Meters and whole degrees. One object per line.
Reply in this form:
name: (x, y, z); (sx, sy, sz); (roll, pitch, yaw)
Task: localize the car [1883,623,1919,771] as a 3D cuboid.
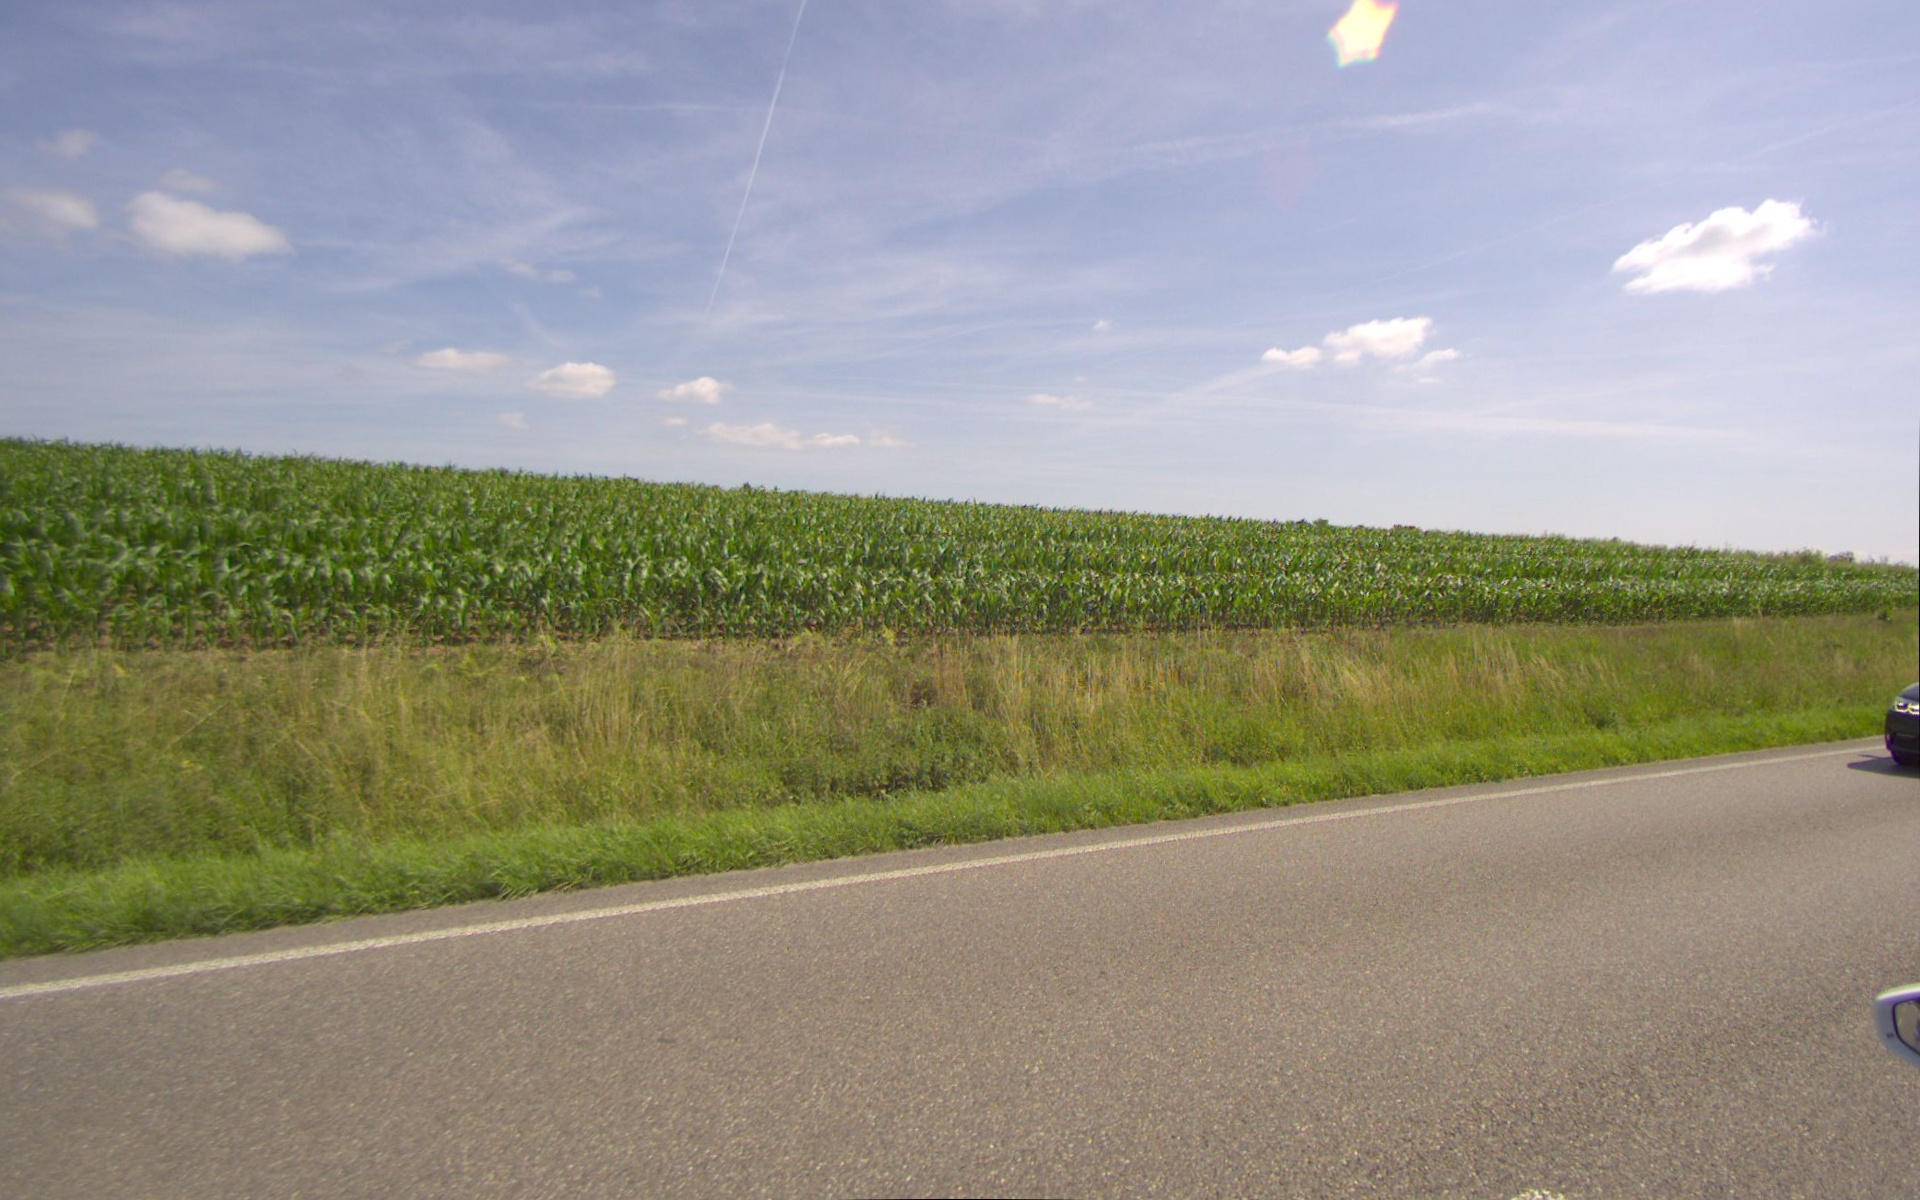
car: (11.755, 1.012, 10.674); (4.299, 1.476, 1.665); (1, 0, -30)
